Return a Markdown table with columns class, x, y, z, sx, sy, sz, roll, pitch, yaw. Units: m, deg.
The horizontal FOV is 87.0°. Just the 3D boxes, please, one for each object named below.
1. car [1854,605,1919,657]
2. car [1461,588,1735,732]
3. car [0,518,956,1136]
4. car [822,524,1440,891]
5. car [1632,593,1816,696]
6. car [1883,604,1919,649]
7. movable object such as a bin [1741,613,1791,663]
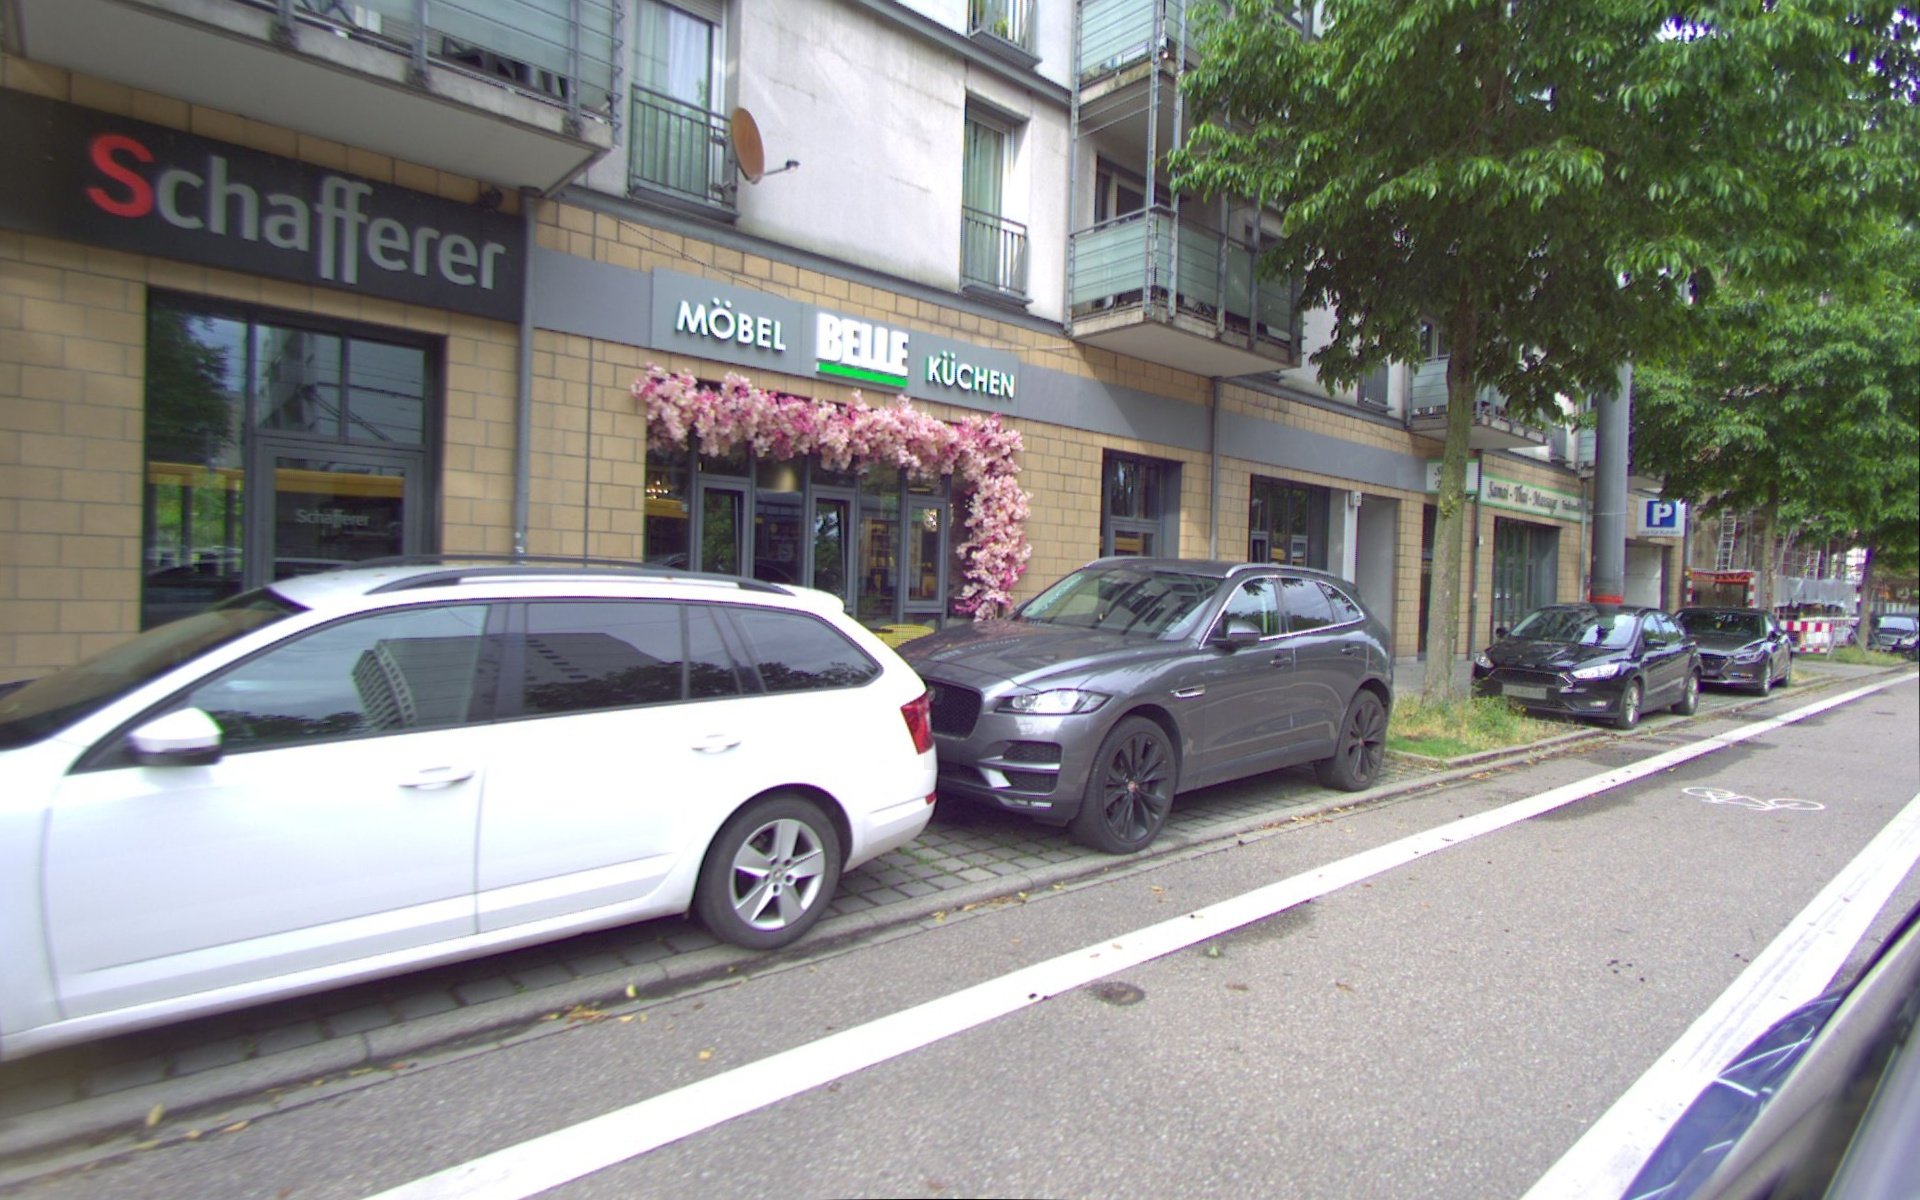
| class | x | y | z | sx | sy | sz | roll | pitch | yaw |
| --- | --- | --- | --- | --- | --- | --- | --- | --- | --- |
| car | 29.874 | 0.944 | 32.068 | 4.206 | 1.478 | 1.754 | 0 | 3 | -42 |
| car | 8.374 | 0.663 | 13.131 | 4.329 | 1.459 | 1.681 | 0 | 4 | -40 |
| car | -2.238 | 0.530 | 3.727 | 4.311 | 1.517 | 1.681 | 0 | 4 | -40 |
| car | 1.469 | 0.480 | 7.087 | 4.631 | 1.737 | 1.715 | 0 | 4 | -43 |
| car | 13.616 | 0.699 | 17.942 | 4.315 | 1.472 | 1.801 | 0 | 4 | -43 |
| car | 34.144 | 0.942 | 35.781 | 4.206 | 1.478 | 1.754 | 0 | 3 | -42 |
| movable object such as a bin | 18.470 | 0.859 | 23.188 | 0.531 | 1.067 | 0.763 | 1 | 2 | -41 |
